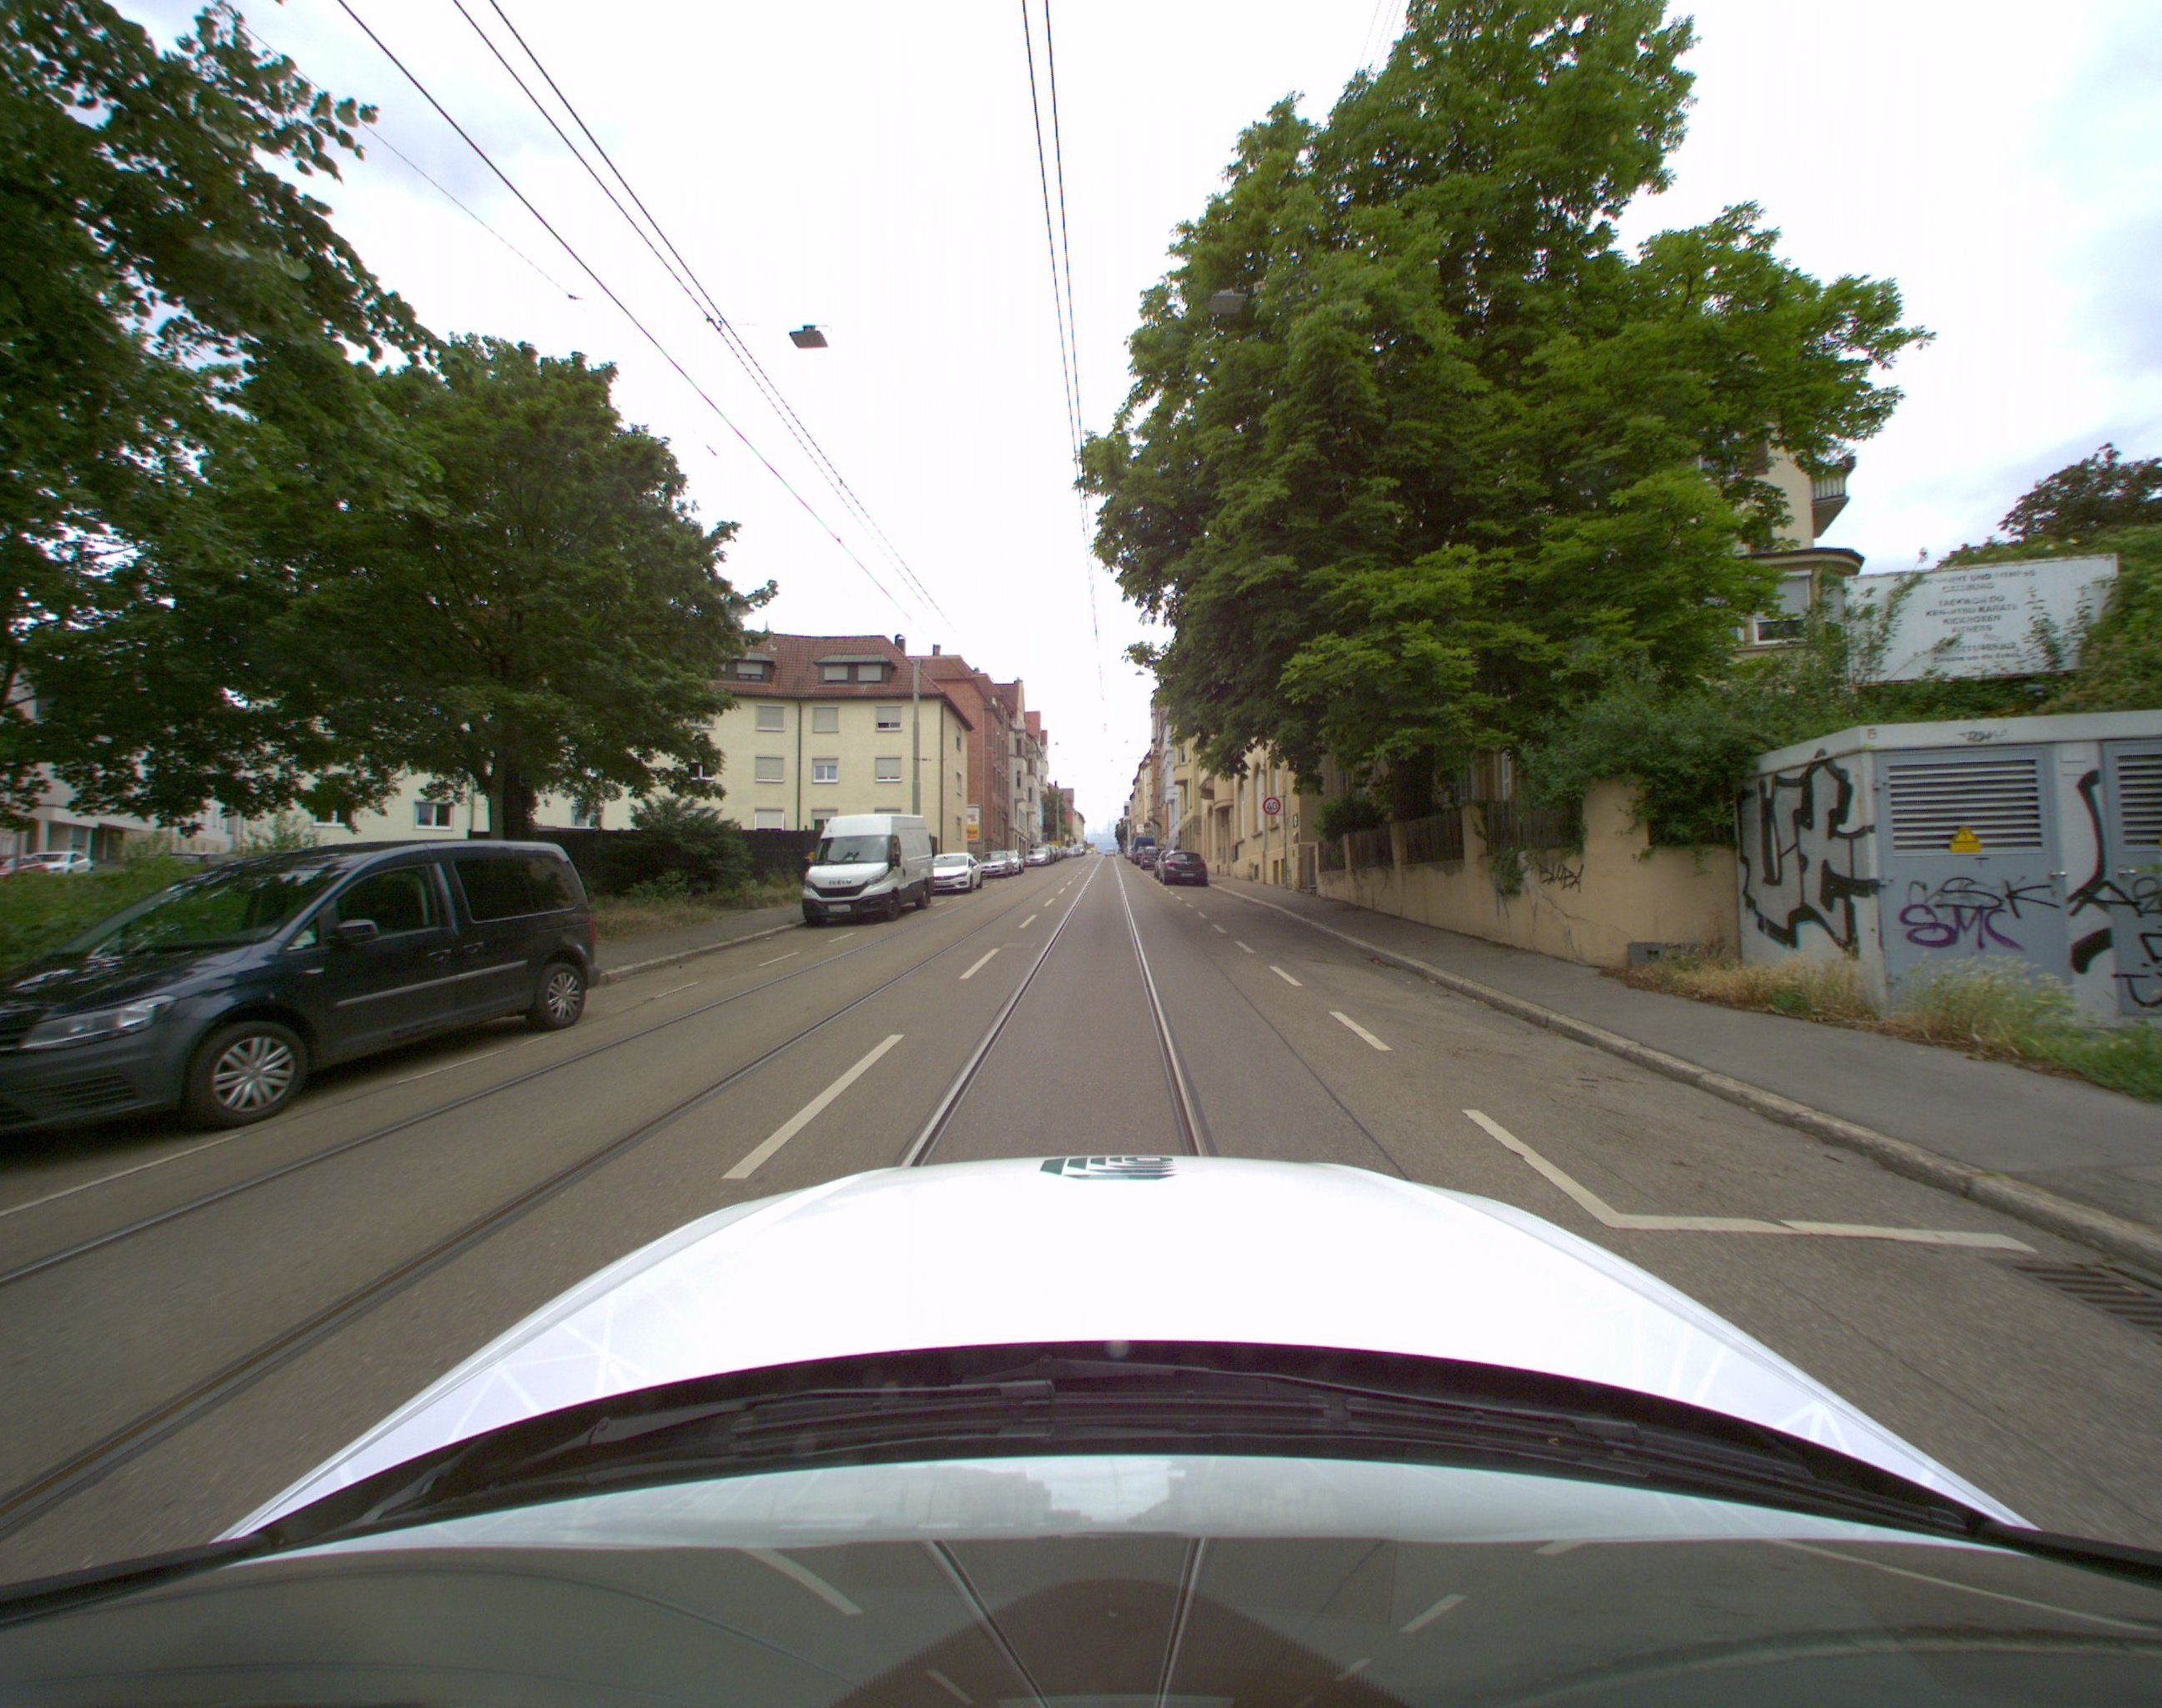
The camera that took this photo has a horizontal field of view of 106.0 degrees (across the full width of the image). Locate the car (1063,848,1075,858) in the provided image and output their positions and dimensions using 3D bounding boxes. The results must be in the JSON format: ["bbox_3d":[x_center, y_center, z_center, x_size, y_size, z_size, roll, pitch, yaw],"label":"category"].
[{"bbox_3d":[-1.951,-0.175,131.335,1.689,1.556,3.853,0,0,3],"label":"car"}]

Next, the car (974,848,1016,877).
[{"bbox_3d":[-4.585,0.411,43.954,1.594,1.368,3.810,-4,1,3],"label":"car"}]

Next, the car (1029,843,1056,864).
[{"bbox_3d":[-3.419,-0.081,73.226,1.820,1.718,4.917,-3,1,3],"label":"car"}]

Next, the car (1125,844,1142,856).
[{"bbox_3d":[6.112,-0.457,95.231,1.744,1.390,4.308,2,0,1],"label":"car"}]

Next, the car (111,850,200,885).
[{"bbox_3d":[-40.333,0.564,35.588,1.683,1.415,3.691,1,0,-34],"label":"car"}]

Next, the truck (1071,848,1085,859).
[{"bbox_3d":[-0.550,-0.077,167.619,2.271,2.188,8.031,0,0,3],"label":"truck"}]

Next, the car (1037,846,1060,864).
[{"bbox_3d":[-3.215,0.039,81.194,1.866,1.664,4.895,-3,1,3],"label":"car"}]

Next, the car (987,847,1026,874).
[{"bbox_3d":[-4.379,0.353,48.352,1.822,1.429,4.627,-4,1,0],"label":"car"}]

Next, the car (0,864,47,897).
[{"bbox_3d":[-45.096,1.084,33.935,1.463,1.235,3.740,1,0,-35],"label":"car"}]

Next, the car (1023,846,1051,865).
[{"bbox_3d":[-3.638,0.114,67.755,1.820,1.429,4.842,-3,1,3],"label":"car"}]

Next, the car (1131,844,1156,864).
[{"bbox_3d":[5.225,0.028,68.138,1.773,1.530,4.193,3,0,1],"label":"car"}]

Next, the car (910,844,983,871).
[{"bbox_3d":[-10.131,0.240,61.534,5.161,1.818,1.939,-3,1,-2],"label":"car"}]

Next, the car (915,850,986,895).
[{"bbox_3d":[-4.777,0.640,30.389,1.712,1.403,4.315,-3,1,2],"label":"car"}]

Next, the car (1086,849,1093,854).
[{"bbox_3d":[2.421,-0.740,235.294,1.848,1.607,4.299,0,0,2],"label":"car"}]

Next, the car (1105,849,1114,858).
[{"bbox_3d":[5.164,-0.104,148.190,1.666,1.513,3.798,-1,0,1],"label":"car"}]

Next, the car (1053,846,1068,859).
[{"bbox_3d":[-2.575,-0.180,103.493,1.690,1.468,3.025,-3,0,2],"label":"car"}]

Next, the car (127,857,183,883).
[{"bbox_3d":[-57.359,1.015,50.505,1.463,1.479,3.739,1,-2,-35],"label":"car"}]

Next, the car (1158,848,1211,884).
[{"bbox_3d":[4.333,0.490,34.645,1.833,1.403,4.169,1,0,2],"label":"car"}]

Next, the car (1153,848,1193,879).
[{"bbox_3d":[4.561,0.445,40.736,1.688,1.404,3.670,2,1,2],"label":"car"}]

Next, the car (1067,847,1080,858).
[{"bbox_3d":[-1.306,-0.305,142.508,1.736,1.735,4.523,-2,0,4],"label":"car"}]

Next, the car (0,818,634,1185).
[{"bbox_3d":[-5.810,0.758,6.336,1.754,1.775,4.672,-4,0,3],"label":"car"}]

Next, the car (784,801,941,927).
[{"bbox_3d":[-5.284,0.181,20.827,2.151,2.606,6.219,-3,1,0],"label":"car"}]

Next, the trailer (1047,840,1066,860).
[{"bbox_3d":[-2.771,-0.506,91.751,1.741,2.155,4.074,-3,1,3],"label":"trailer"}]

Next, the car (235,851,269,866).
[{"bbox_3d":[-70.491,0.359,69.286,1.463,1.235,3.384,1,0,-35],"label":"car"}]

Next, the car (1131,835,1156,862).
[{"bbox_3d":[5.623,-0.480,73.555,1.986,2.376,5.058,0,0,2],"label":"car"}]

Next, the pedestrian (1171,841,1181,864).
[{"bbox_3d":[7.208,-0.102,61.812,0.540,1.682,0.515,-5,-2,-7],"label":"pedestrian"}]

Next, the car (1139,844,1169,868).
[{"bbox_3d":[4.992,0.136,55.943,1.820,1.519,4.030,2,1,2],"label":"car"}]

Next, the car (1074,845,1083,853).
[{"bbox_3d":[-0.547,-1.019,160.876,1.691,1.433,4.481,-2,0,1],"label":"car"}]
